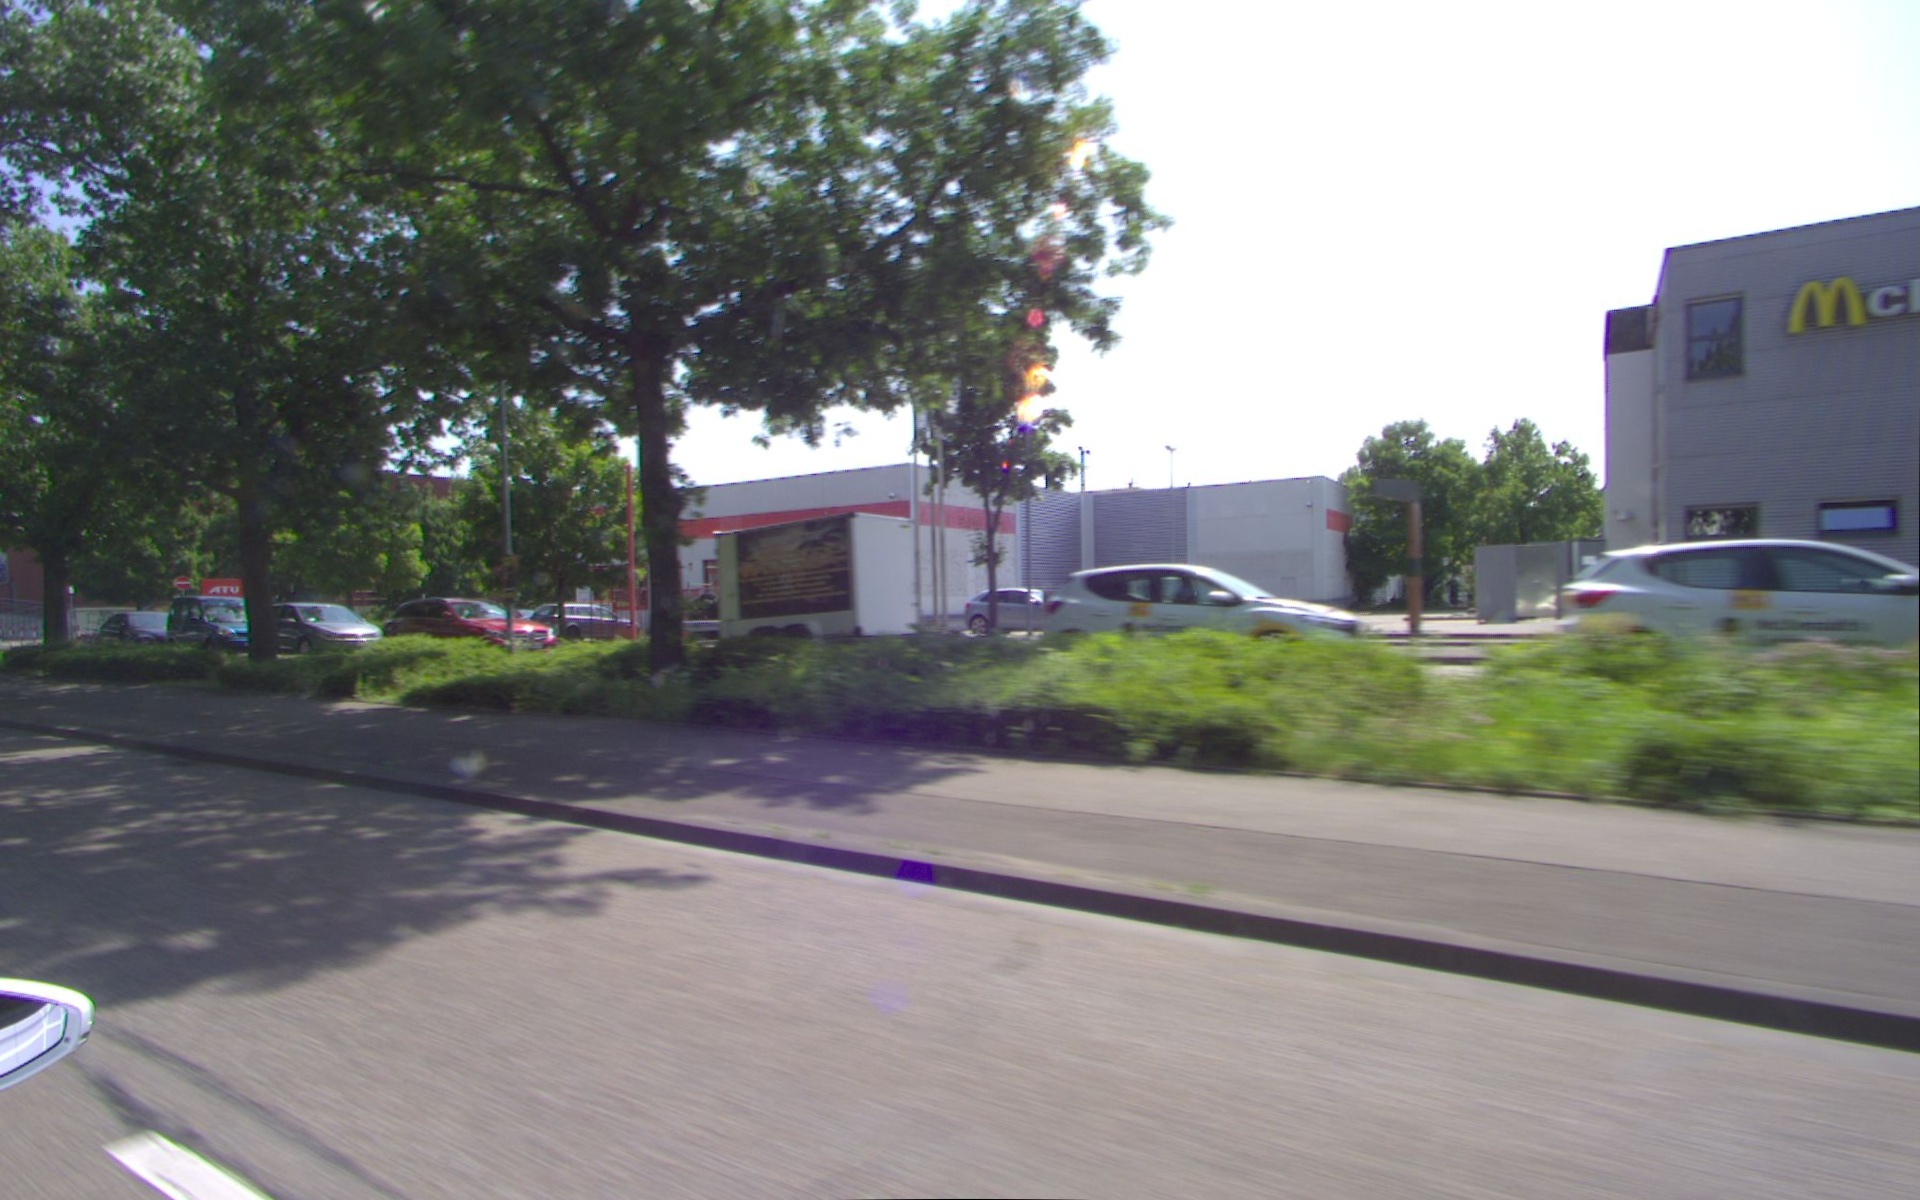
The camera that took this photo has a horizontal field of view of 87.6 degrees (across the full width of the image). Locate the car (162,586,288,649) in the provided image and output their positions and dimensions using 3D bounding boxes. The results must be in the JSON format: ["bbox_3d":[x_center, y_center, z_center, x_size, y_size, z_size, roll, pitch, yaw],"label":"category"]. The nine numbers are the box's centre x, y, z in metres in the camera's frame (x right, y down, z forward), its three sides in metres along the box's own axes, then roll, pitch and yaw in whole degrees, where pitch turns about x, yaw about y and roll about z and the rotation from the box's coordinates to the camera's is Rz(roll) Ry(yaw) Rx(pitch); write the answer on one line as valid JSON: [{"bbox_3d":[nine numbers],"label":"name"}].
[{"bbox_3d":[-20.865,0.508,28.389,3.853,1.659,1.696,-2,-1,34],"label":"car"}]

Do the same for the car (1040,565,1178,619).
[{"bbox_3d":[5.290,-0.250,35.777,4.565,1.829,1.705,-1,1,33],"label":"car"}]

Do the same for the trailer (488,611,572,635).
[{"bbox_3d":[-16.602,0.896,38.701,1.361,0.922,2.708,-1,-2,32],"label":"trailer"}]

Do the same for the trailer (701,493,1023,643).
[{"bbox_3d":[-1.726,-0.418,16.187,5.410,2.082,1.695,-1,0,35],"label":"trailer"}]

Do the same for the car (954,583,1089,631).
[{"bbox_3d":[1.812,0.220,29.882,3.724,1.357,1.579,-1,0,33],"label":"car"}]

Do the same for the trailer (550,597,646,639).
[{"bbox_3d":[-14.929,0.710,41.495,1.393,1.603,3.594,0,1,34],"label":"trailer"}]

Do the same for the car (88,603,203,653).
[{"bbox_3d":[-25.652,0.878,31.496,4.594,1.443,1.695,-2,-1,36],"label":"car"}]

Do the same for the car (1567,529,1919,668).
[{"bbox_3d":[7.964,0.012,9.558,3.685,1.173,1.590,-2,-1,33],"label":"car"}]

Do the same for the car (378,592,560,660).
[{"bbox_3d":[-11.060,0.565,22.490,4.262,1.398,1.697,-1,0,32],"label":"car"}]

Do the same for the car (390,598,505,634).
[{"bbox_3d":[-22.082,0.660,43.275,1.914,1.461,3.979,-1,1,31],"label":"car"}]

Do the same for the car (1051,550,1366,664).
[{"bbox_3d":[3.123,0.126,12.734,3.578,1.269,1.616,-2,-1,32],"label":"car"}]

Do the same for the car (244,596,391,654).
[{"bbox_3d":[-16.419,0.615,25.574,3.849,1.398,1.697,-1,0,32],"label":"car"}]
